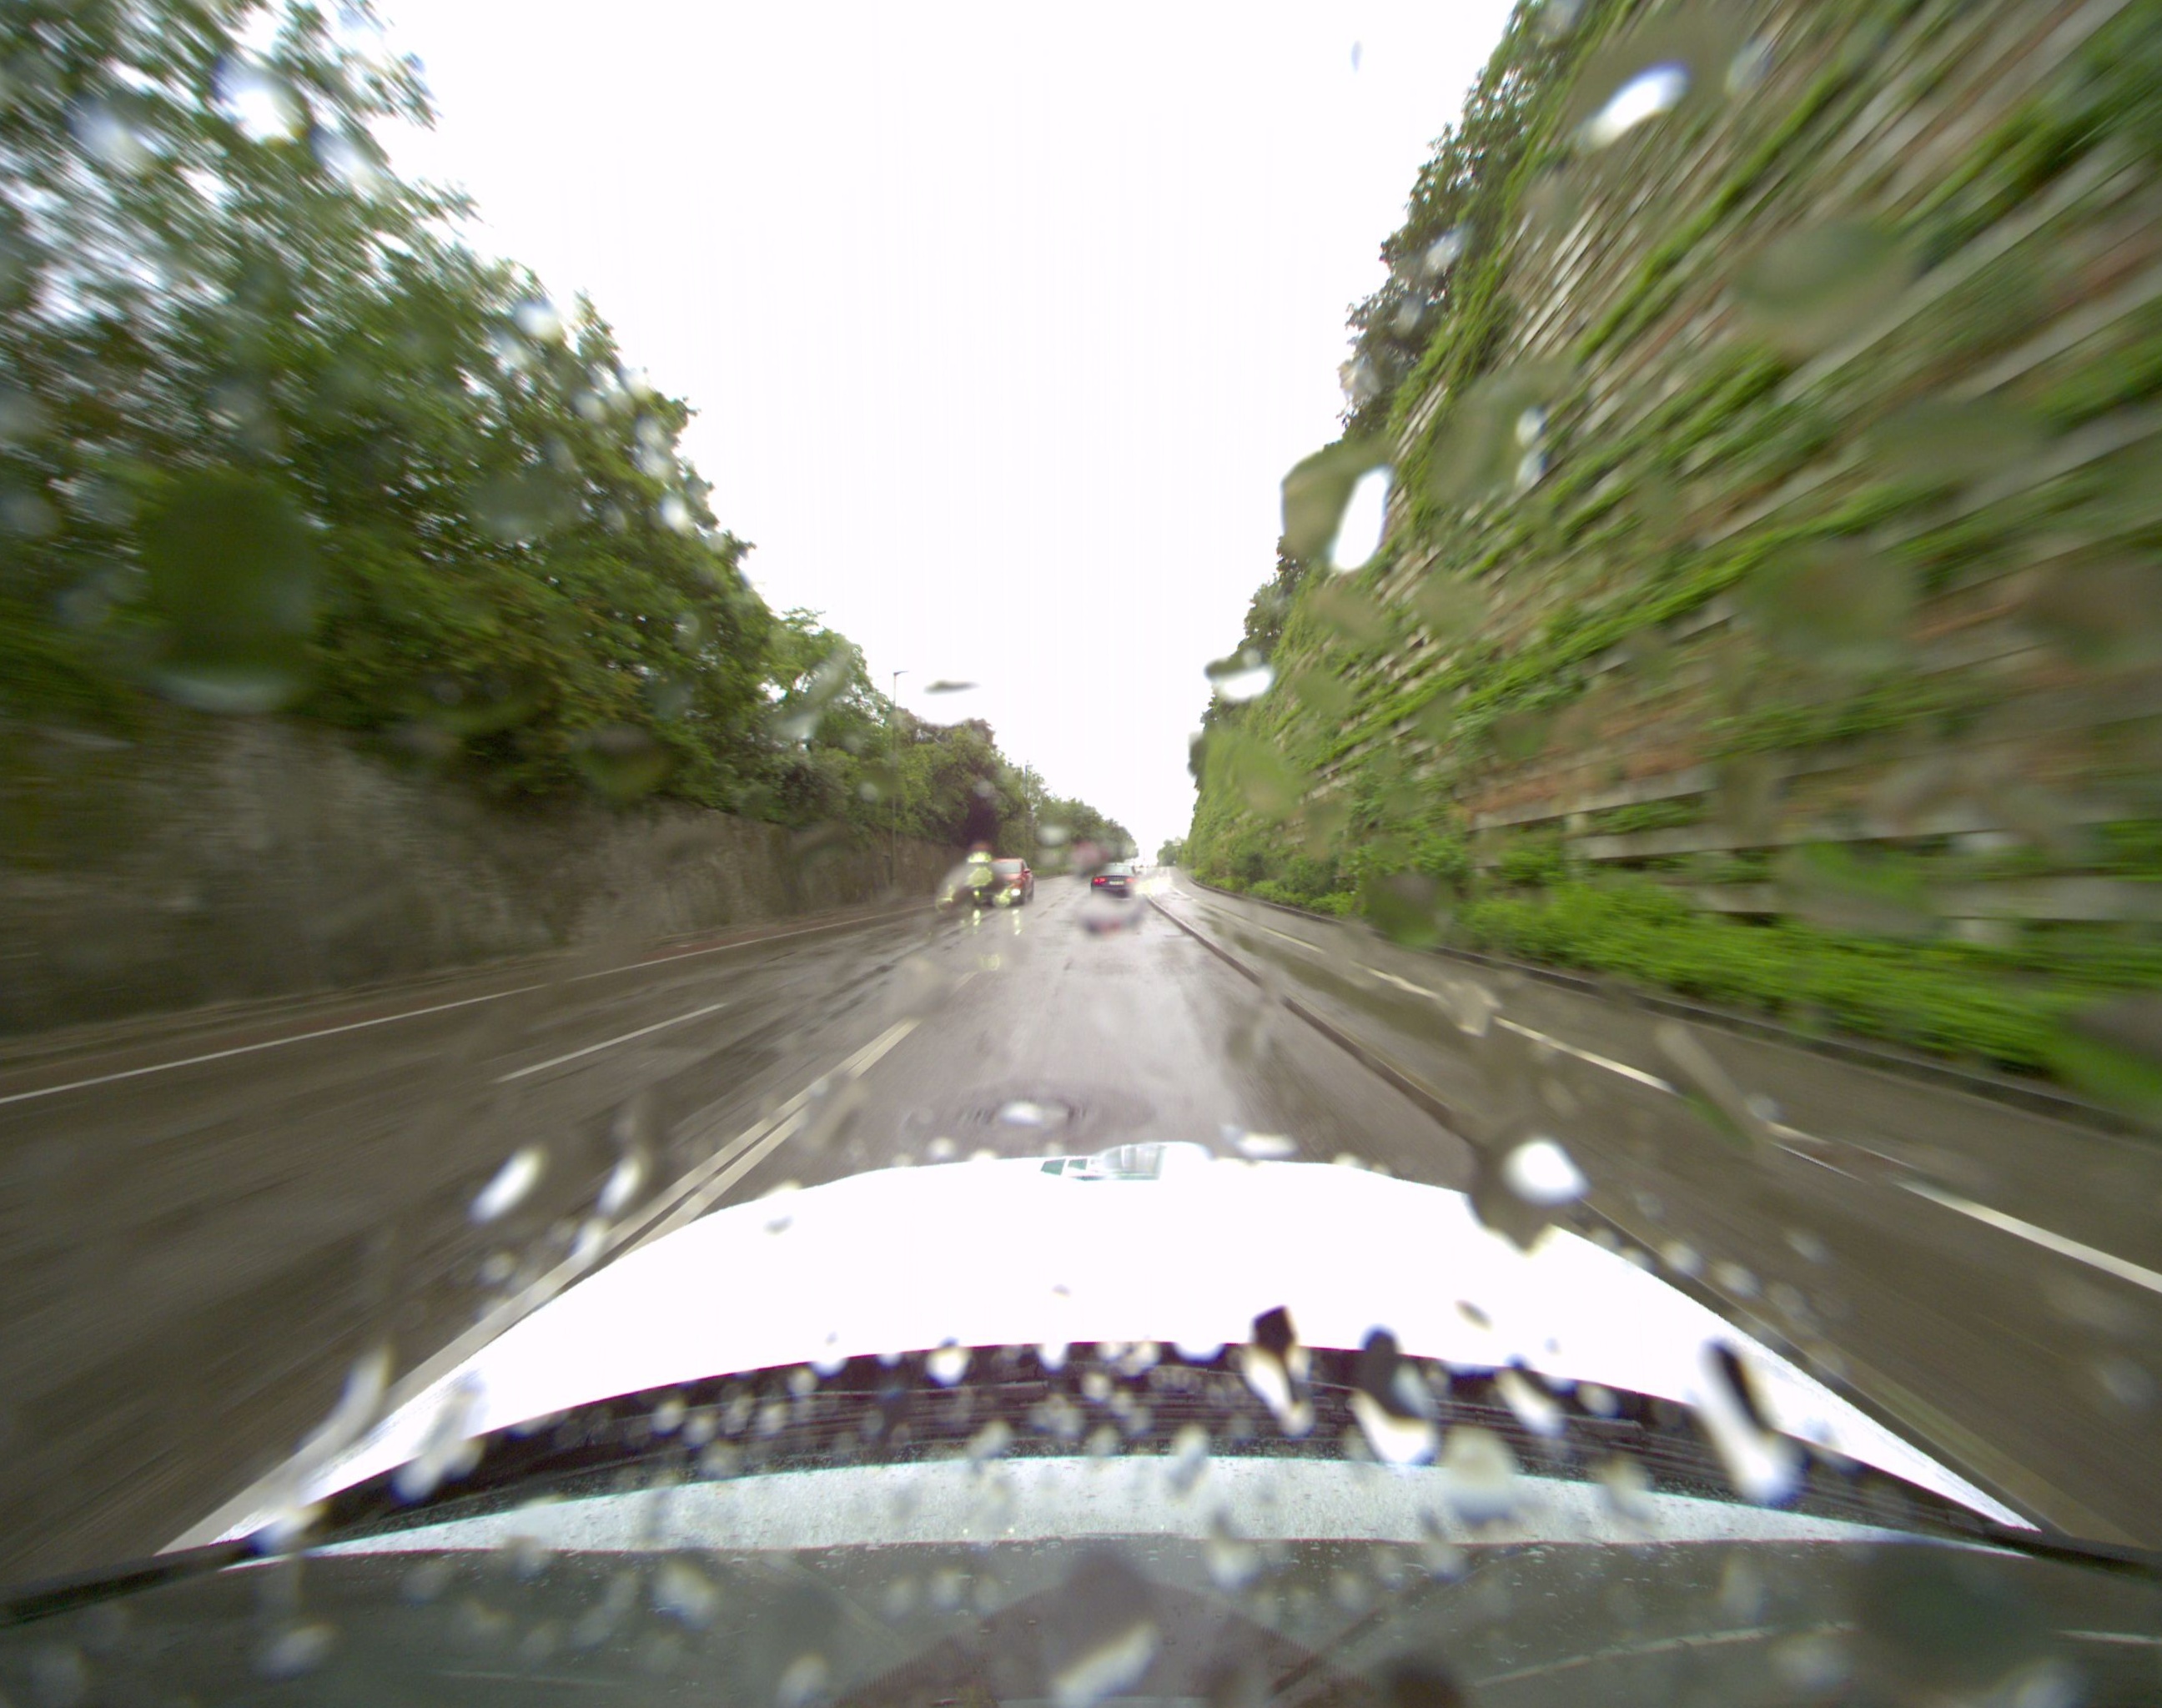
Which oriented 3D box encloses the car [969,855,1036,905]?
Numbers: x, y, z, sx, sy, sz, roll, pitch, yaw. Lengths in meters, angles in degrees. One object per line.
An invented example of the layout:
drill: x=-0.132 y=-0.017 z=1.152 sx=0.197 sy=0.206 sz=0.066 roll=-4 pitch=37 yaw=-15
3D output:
car: x=-2.712 y=0.898 z=29.045 sx=1.725 sy=1.618 sz=4.003 roll=-2 pitch=-1 yaw=3

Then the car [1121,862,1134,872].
car: x=7.503 y=2.072 z=130.837 sx=1.856 sy=1.449 sz=4.382 roll=-2 pitch=-1 yaw=4

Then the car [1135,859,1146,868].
car: x=11.778 y=1.891 z=160.997 sx=1.813 sy=1.615 sz=4.101 roll=-2 pitch=-2 yaw=7

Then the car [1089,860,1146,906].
car: x=1.354 y=1.007 z=29.602 sx=1.885 sy=1.492 sz=4.210 roll=-2 pitch=-1 yaw=3
